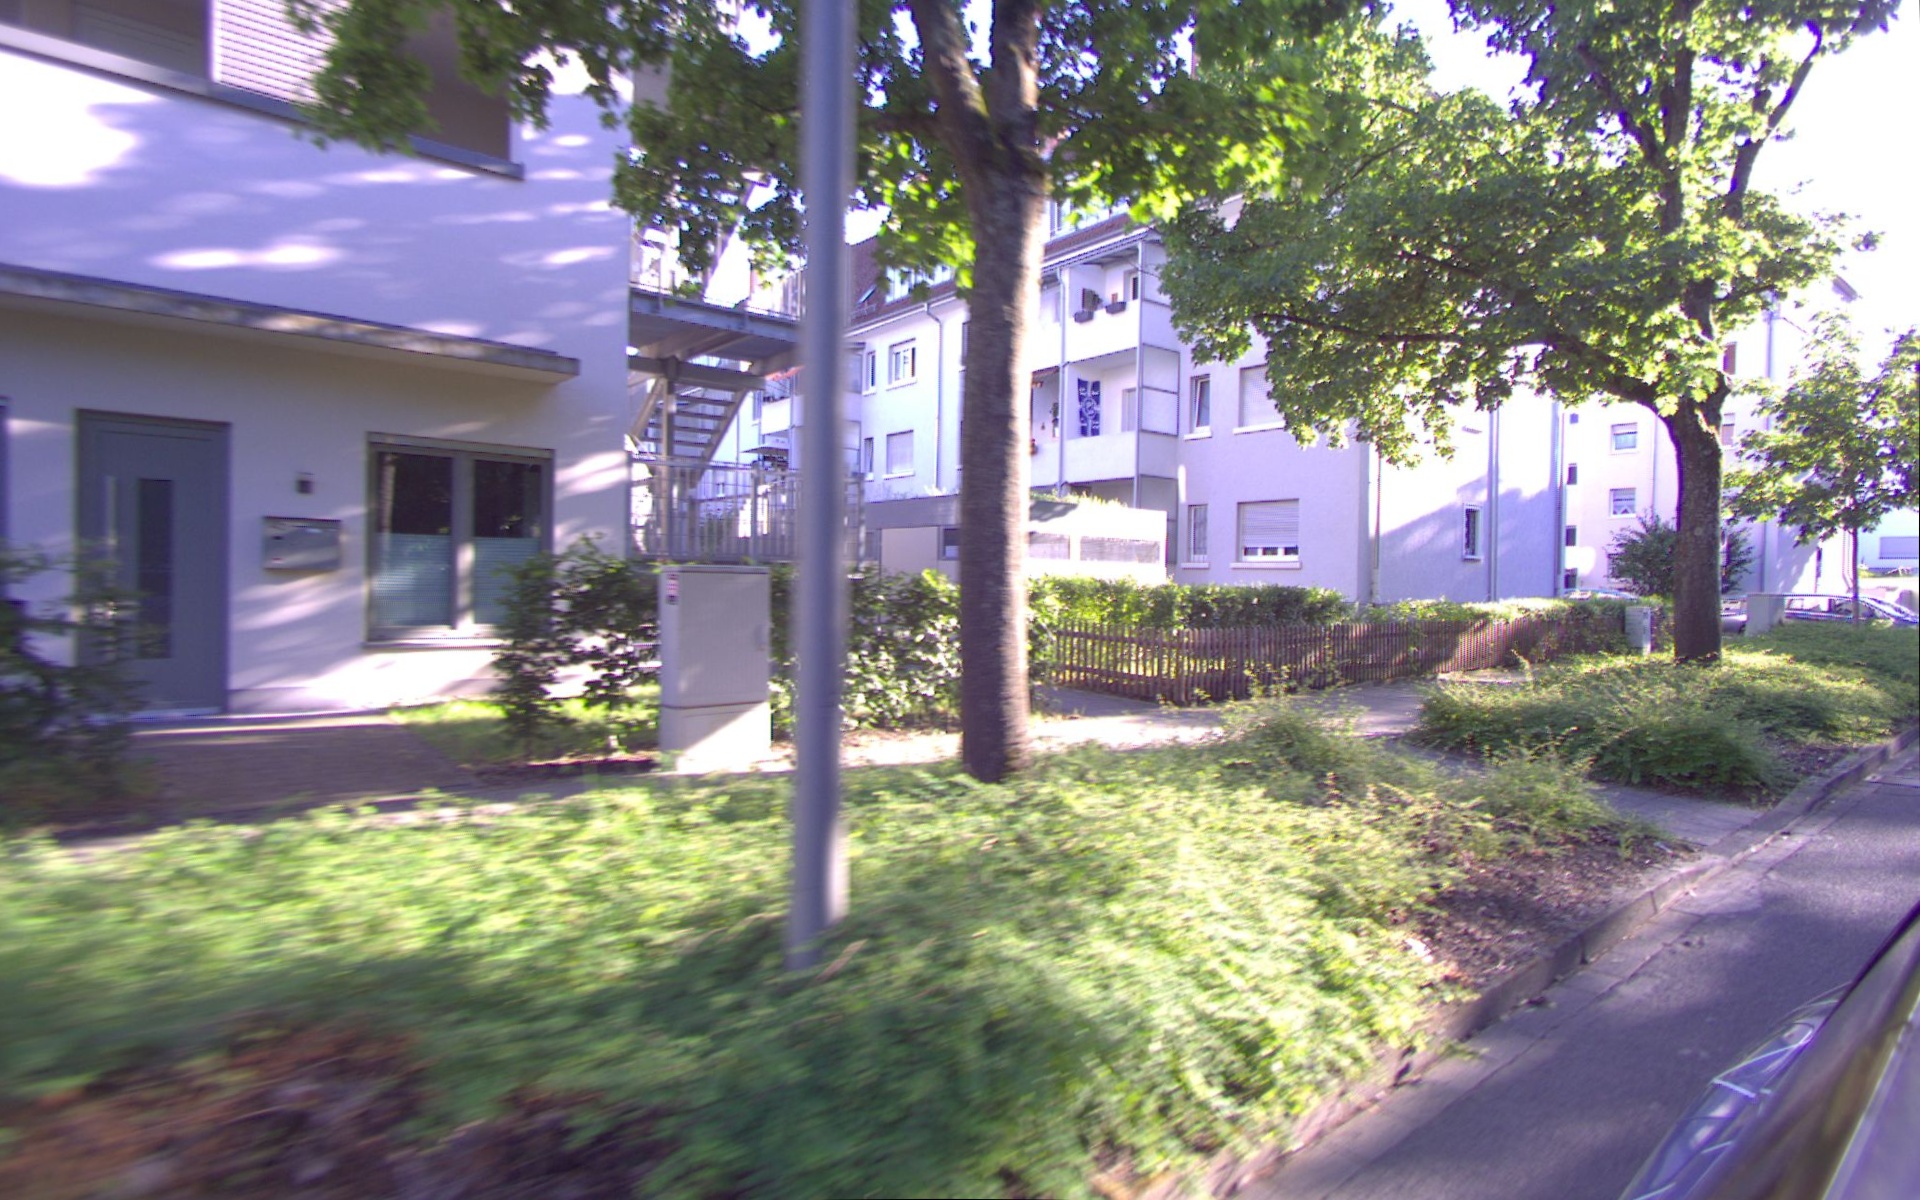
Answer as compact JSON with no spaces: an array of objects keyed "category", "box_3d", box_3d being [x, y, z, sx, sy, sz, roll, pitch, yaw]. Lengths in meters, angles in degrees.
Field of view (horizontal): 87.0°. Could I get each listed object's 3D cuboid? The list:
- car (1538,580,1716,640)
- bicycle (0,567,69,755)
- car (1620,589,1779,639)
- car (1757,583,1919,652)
[{"category":"car","box_3d":[19.353,0.264,29.482,1.778,1.601,3.995,2,0,-40]},{"category":"bicycle","box_3d":[-6.760,0.392,6.357,1.722,1.206,0.619,0,0,-41]},{"category":"car","box_3d":[24.938,0.422,34.224,1.696,1.533,4.050,-1,1,-39]},{"category":"car","box_3d":[23.681,0.452,26.349,1.736,1.695,4.278,0,-1,-35]}]
